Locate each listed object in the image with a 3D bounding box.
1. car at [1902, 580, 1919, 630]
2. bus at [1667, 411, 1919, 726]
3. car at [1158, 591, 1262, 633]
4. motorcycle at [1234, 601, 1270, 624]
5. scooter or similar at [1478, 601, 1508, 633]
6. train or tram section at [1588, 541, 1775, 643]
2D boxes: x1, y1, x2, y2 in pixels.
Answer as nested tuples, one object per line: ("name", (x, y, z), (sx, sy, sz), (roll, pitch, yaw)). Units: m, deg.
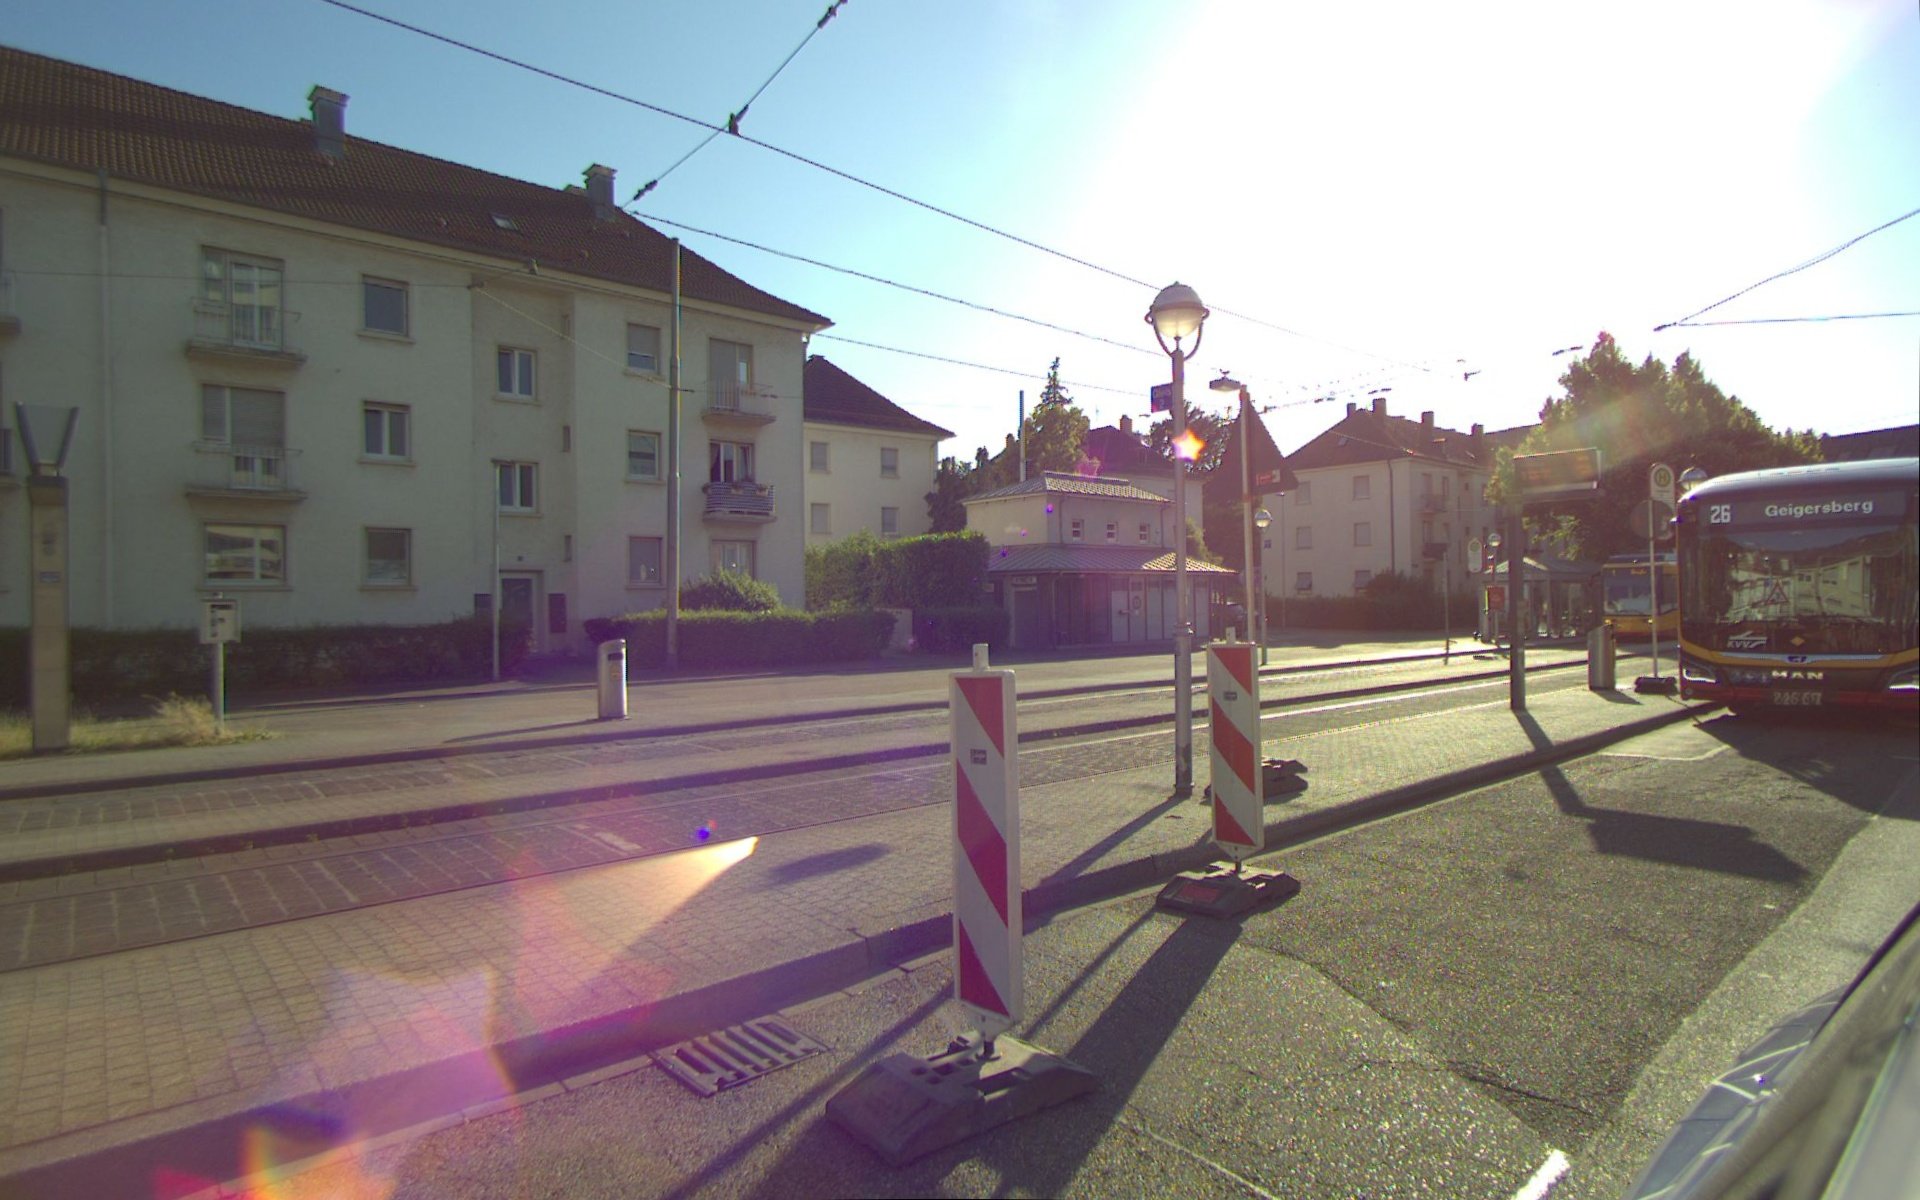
("car", (34.489, 0.177, 35.306), (3.930, 1.695, 1.997), (0, 0, -41))
("bus", (14.320, -0.371, 15.806), (11.810, 3.460, 2.692), (0, 0, -42))
("car", (11.510, 0.523, 46.857), (1.963, 1.791, 4.451), (-1, 1, -37))
("motorcycle", (15.833, 0.674, 54.887), (0.549, 1.177, 1.823), (0, 0, -43))
("scooter or similar", (20.703, 0.646, 39.290), (1.185, 1.223, 0.468), (-1, 0, -30))
("train or tram section", (30.114, -0.515, 41.698), (15.698, 3.578, 2.961), (-2, 2, -42))
